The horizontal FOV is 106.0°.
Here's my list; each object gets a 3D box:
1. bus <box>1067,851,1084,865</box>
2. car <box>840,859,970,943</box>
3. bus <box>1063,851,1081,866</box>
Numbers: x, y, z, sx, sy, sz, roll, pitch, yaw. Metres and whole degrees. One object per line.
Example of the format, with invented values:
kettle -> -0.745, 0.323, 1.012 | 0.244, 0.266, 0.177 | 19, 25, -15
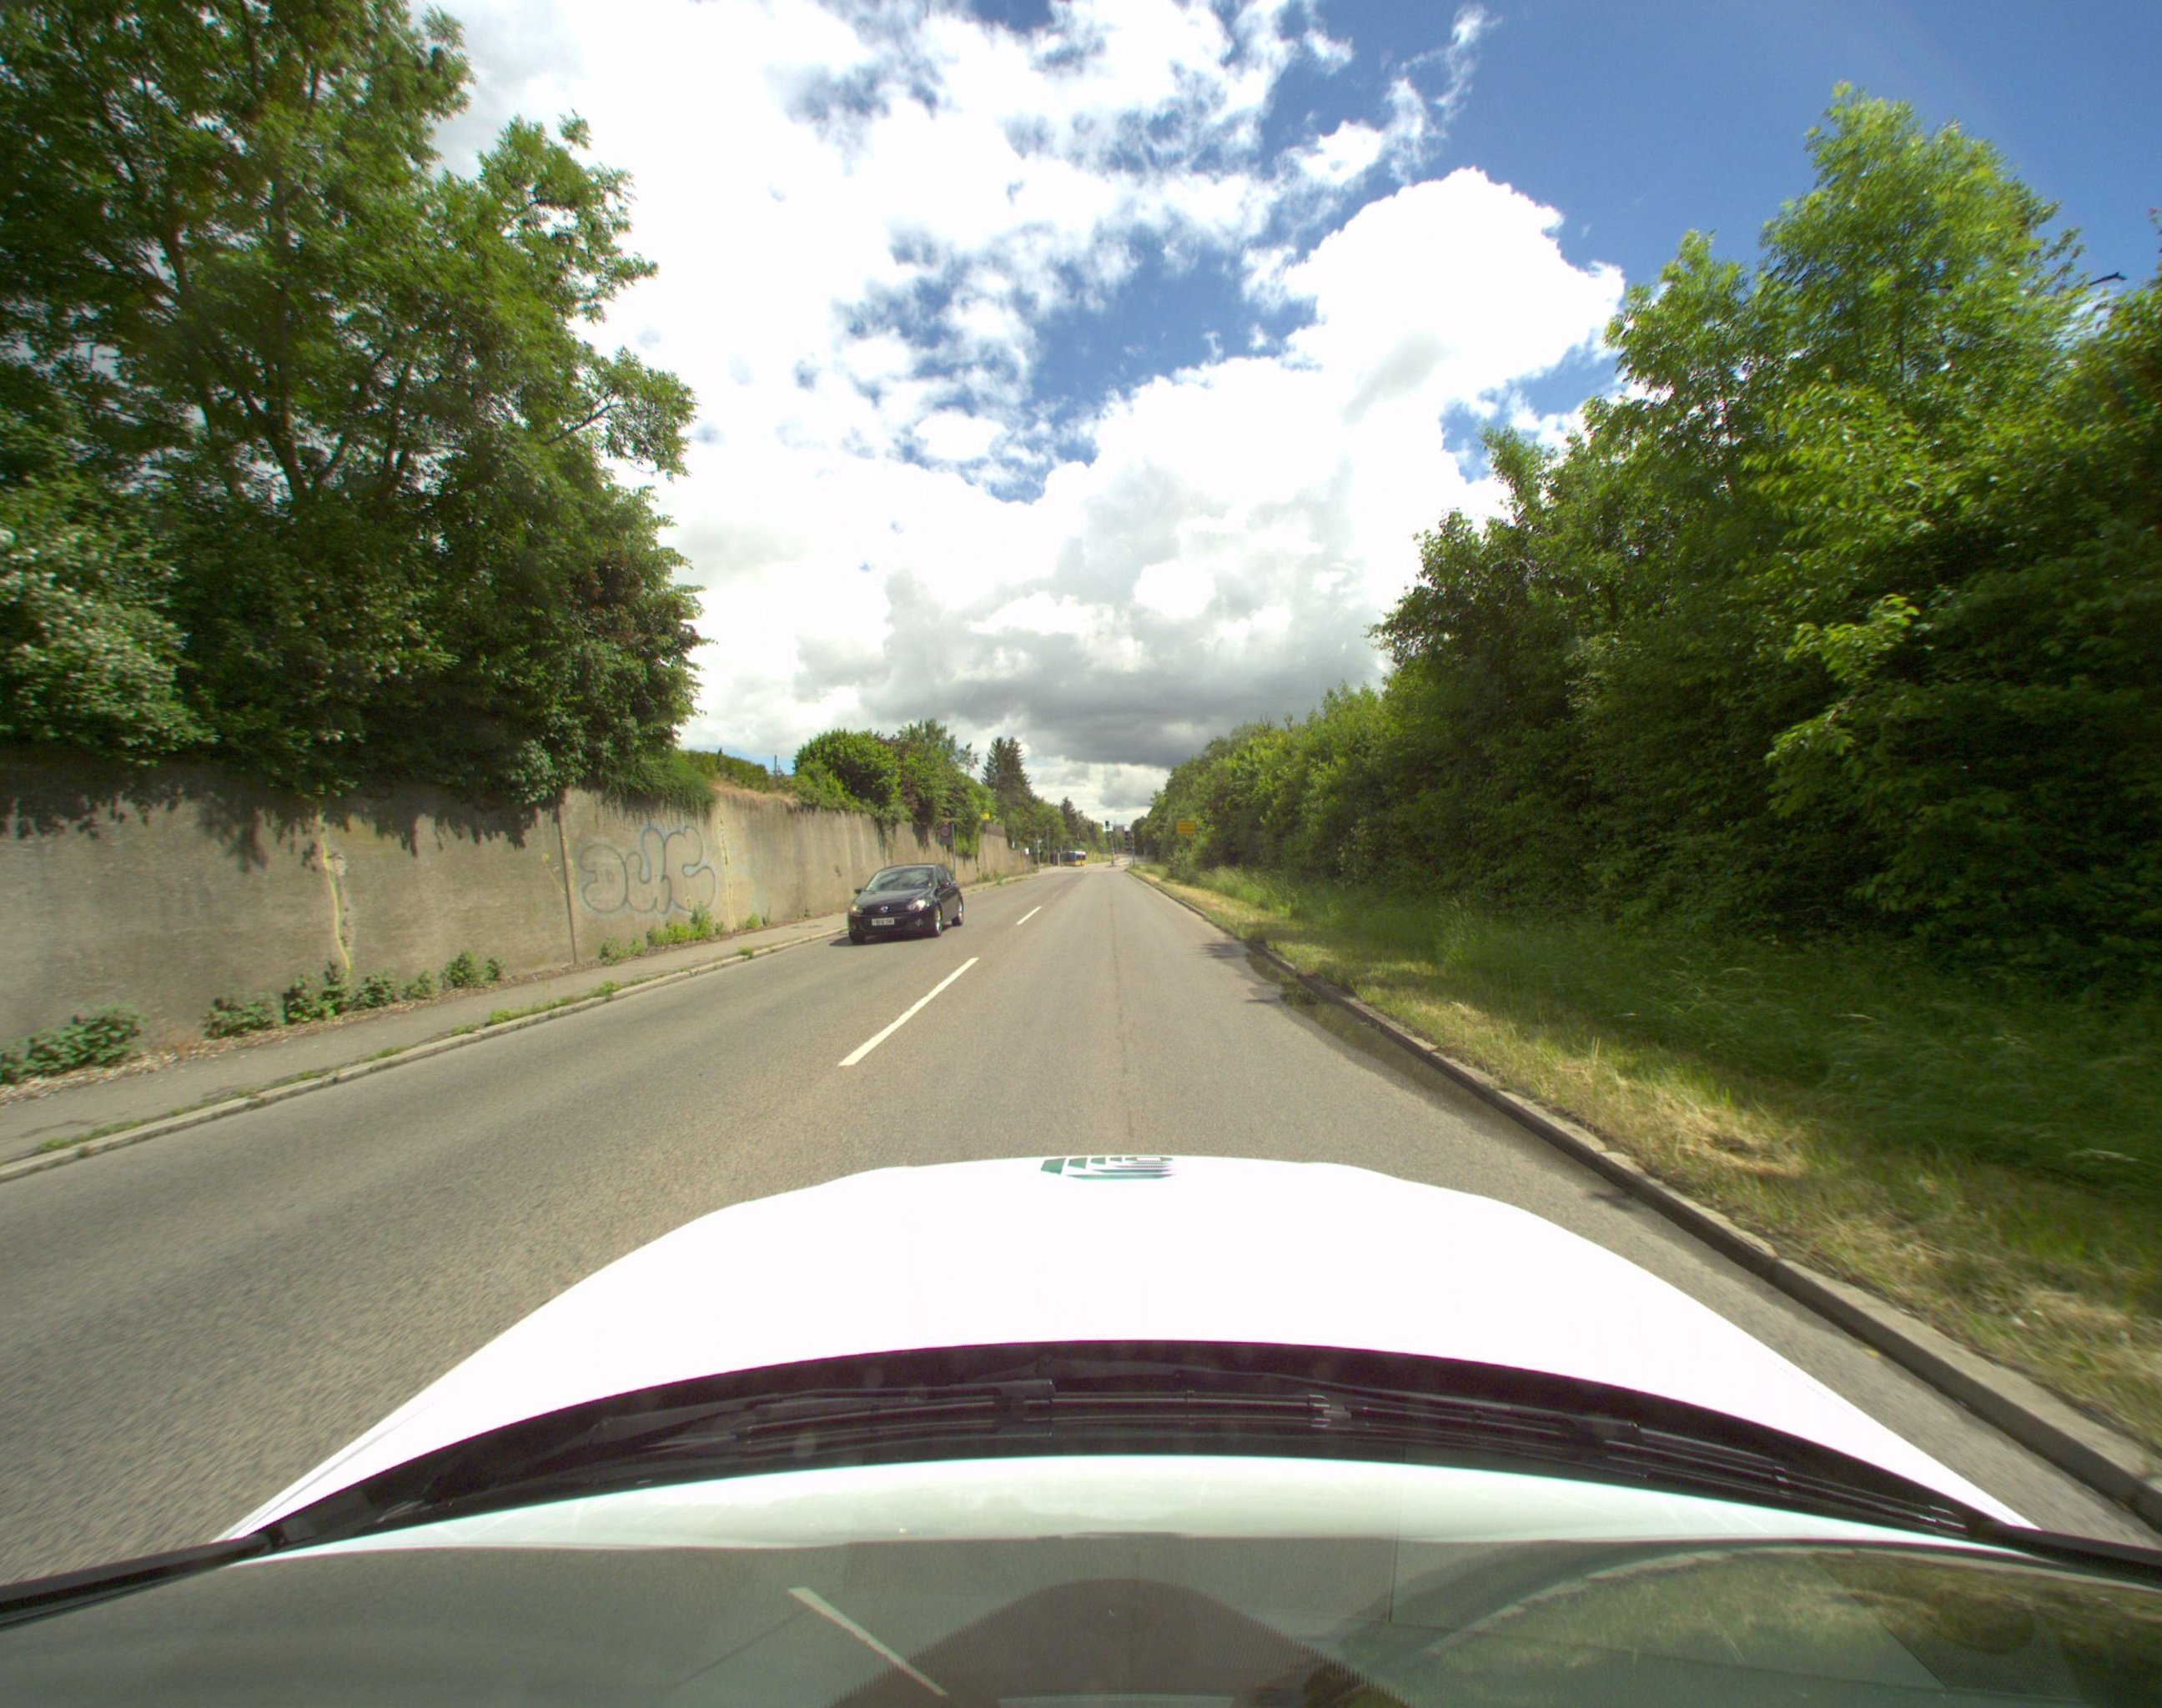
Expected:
bus -> -1.081, 0.773, 175.334 | 2.881, 2.898, 7.678 | 0, 1, 5
car -> -3.579, 0.892, 17.297 | 1.745, 1.464, 4.001 | -3, 0, 1
bus -> -1.769, 0.901, 167.669 | 2.881, 2.898, 7.678 | 0, 1, 5
